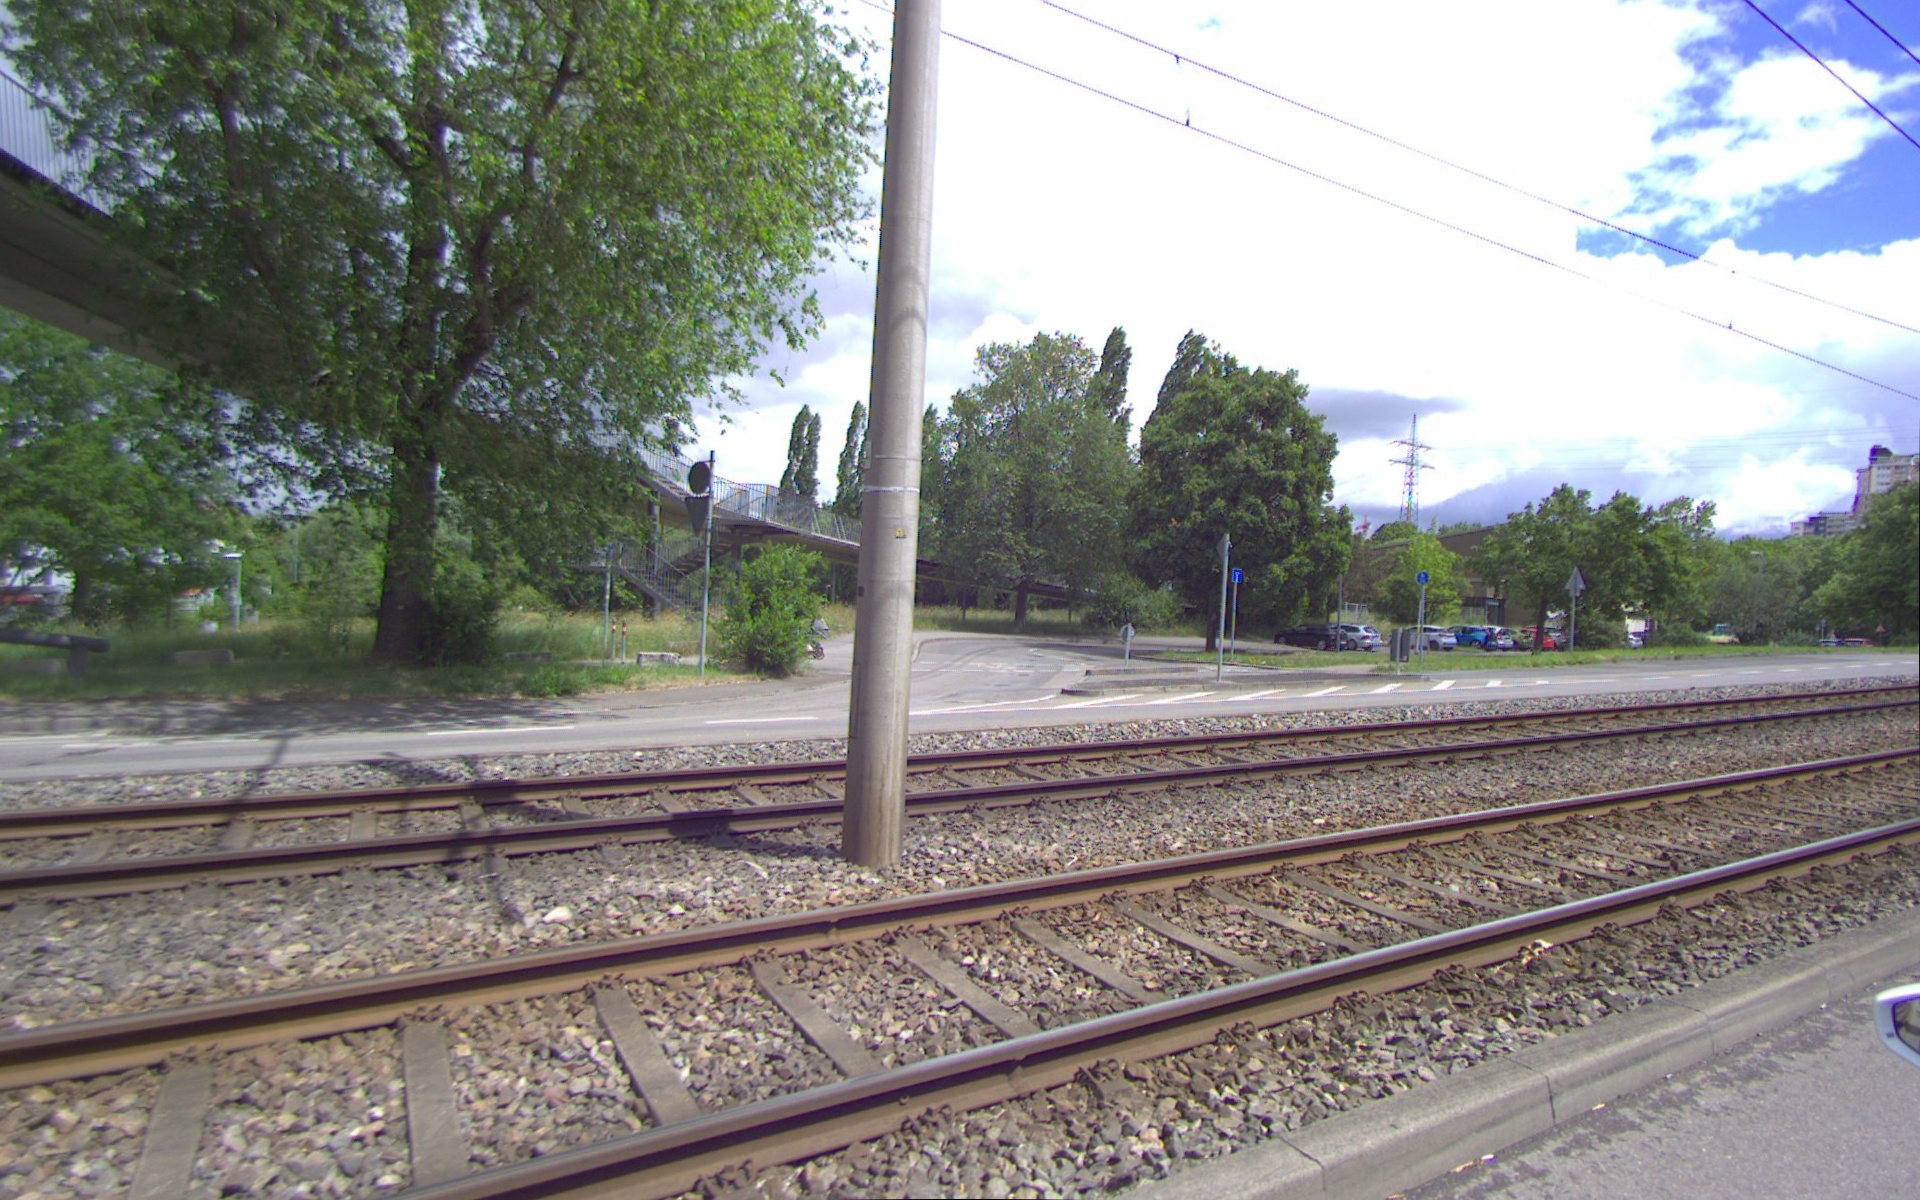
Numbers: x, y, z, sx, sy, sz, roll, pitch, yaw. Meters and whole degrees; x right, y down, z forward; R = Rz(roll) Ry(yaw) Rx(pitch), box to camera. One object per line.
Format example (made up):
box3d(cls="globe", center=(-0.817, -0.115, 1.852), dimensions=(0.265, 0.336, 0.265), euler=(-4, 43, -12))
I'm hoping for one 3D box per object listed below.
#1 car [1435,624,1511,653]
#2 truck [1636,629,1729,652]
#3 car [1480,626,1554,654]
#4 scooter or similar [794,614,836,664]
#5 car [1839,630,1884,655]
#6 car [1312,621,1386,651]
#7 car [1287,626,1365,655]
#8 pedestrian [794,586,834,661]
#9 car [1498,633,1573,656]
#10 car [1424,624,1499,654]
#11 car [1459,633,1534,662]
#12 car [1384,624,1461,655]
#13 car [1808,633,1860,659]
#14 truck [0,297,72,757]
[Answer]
box3d(cls="car", center=(33.312, 2.483, 65.315), dimensions=(1.968, 1.601, 3.939), euler=(1, 2, -27))
box3d(cls="truck", center=(88.554, 4.925, 123.362), dimensions=(8.955, 2.731, 2.611), euler=(0, -1, 29))
box3d(cls="car", center=(37.630, 2.701, 67.977), dimensions=(1.970, 1.601, 3.939), euler=(1, 2, -27))
box3d(cls="scooter or similar", center=(-3.584, 0.957, 24.844), dimensions=(0.778, 1.162, 0.708), euler=(4, 1, -27))
box3d(cls="car", center=(69.813, 3.277, 77.774), dimensions=(3.961, 1.795, 1.803), euler=(1, 0, -36))
box3d(cls="car", center=(22.020, 2.015, 57.061), dimensions=(1.553, 1.409, 3.856), euler=(4, 1, -25))
box3d(cls="car", center=(20.389, 2.238, 56.037), dimensions=(1.754, 1.293, 3.951), euler=(4, 1, -25))
box3d(cls="pedestrian", center=(-3.593, 0.579, 24.733), dimensions=(0.709, 1.779, 0.658), euler=(3, 1, -28))
box3d(cls="car", center=(39.720, 3.033, 69.367), dimensions=(1.970, 1.269, 4.066), euler=(1, 2, -27))
box3d(cls="car", center=(31.829, 2.430, 63.864), dimensions=(1.845, 1.601, 3.939), euler=(1, 2, -27))
box3d(cls="car", center=(35.629, 3.147, 66.769), dimensions=(1.970, 1.601, 3.939), euler=(1, 2, -27))
box3d(cls="car", center=(28.296, 2.365, 61.499), dimensions=(1.823, 1.601, 3.891), euler=(0, 2, -34))
box3d(cls="car", center=(63.951, 3.360, 73.481), dimensions=(3.956, 1.795, 1.806), euler=(1, 0, -33))
box3d(cls="truck", center=(-11.339, -0.756, 5.778), dimensions=(8.944, 3.364, 2.851), euler=(3, 1, -36))
